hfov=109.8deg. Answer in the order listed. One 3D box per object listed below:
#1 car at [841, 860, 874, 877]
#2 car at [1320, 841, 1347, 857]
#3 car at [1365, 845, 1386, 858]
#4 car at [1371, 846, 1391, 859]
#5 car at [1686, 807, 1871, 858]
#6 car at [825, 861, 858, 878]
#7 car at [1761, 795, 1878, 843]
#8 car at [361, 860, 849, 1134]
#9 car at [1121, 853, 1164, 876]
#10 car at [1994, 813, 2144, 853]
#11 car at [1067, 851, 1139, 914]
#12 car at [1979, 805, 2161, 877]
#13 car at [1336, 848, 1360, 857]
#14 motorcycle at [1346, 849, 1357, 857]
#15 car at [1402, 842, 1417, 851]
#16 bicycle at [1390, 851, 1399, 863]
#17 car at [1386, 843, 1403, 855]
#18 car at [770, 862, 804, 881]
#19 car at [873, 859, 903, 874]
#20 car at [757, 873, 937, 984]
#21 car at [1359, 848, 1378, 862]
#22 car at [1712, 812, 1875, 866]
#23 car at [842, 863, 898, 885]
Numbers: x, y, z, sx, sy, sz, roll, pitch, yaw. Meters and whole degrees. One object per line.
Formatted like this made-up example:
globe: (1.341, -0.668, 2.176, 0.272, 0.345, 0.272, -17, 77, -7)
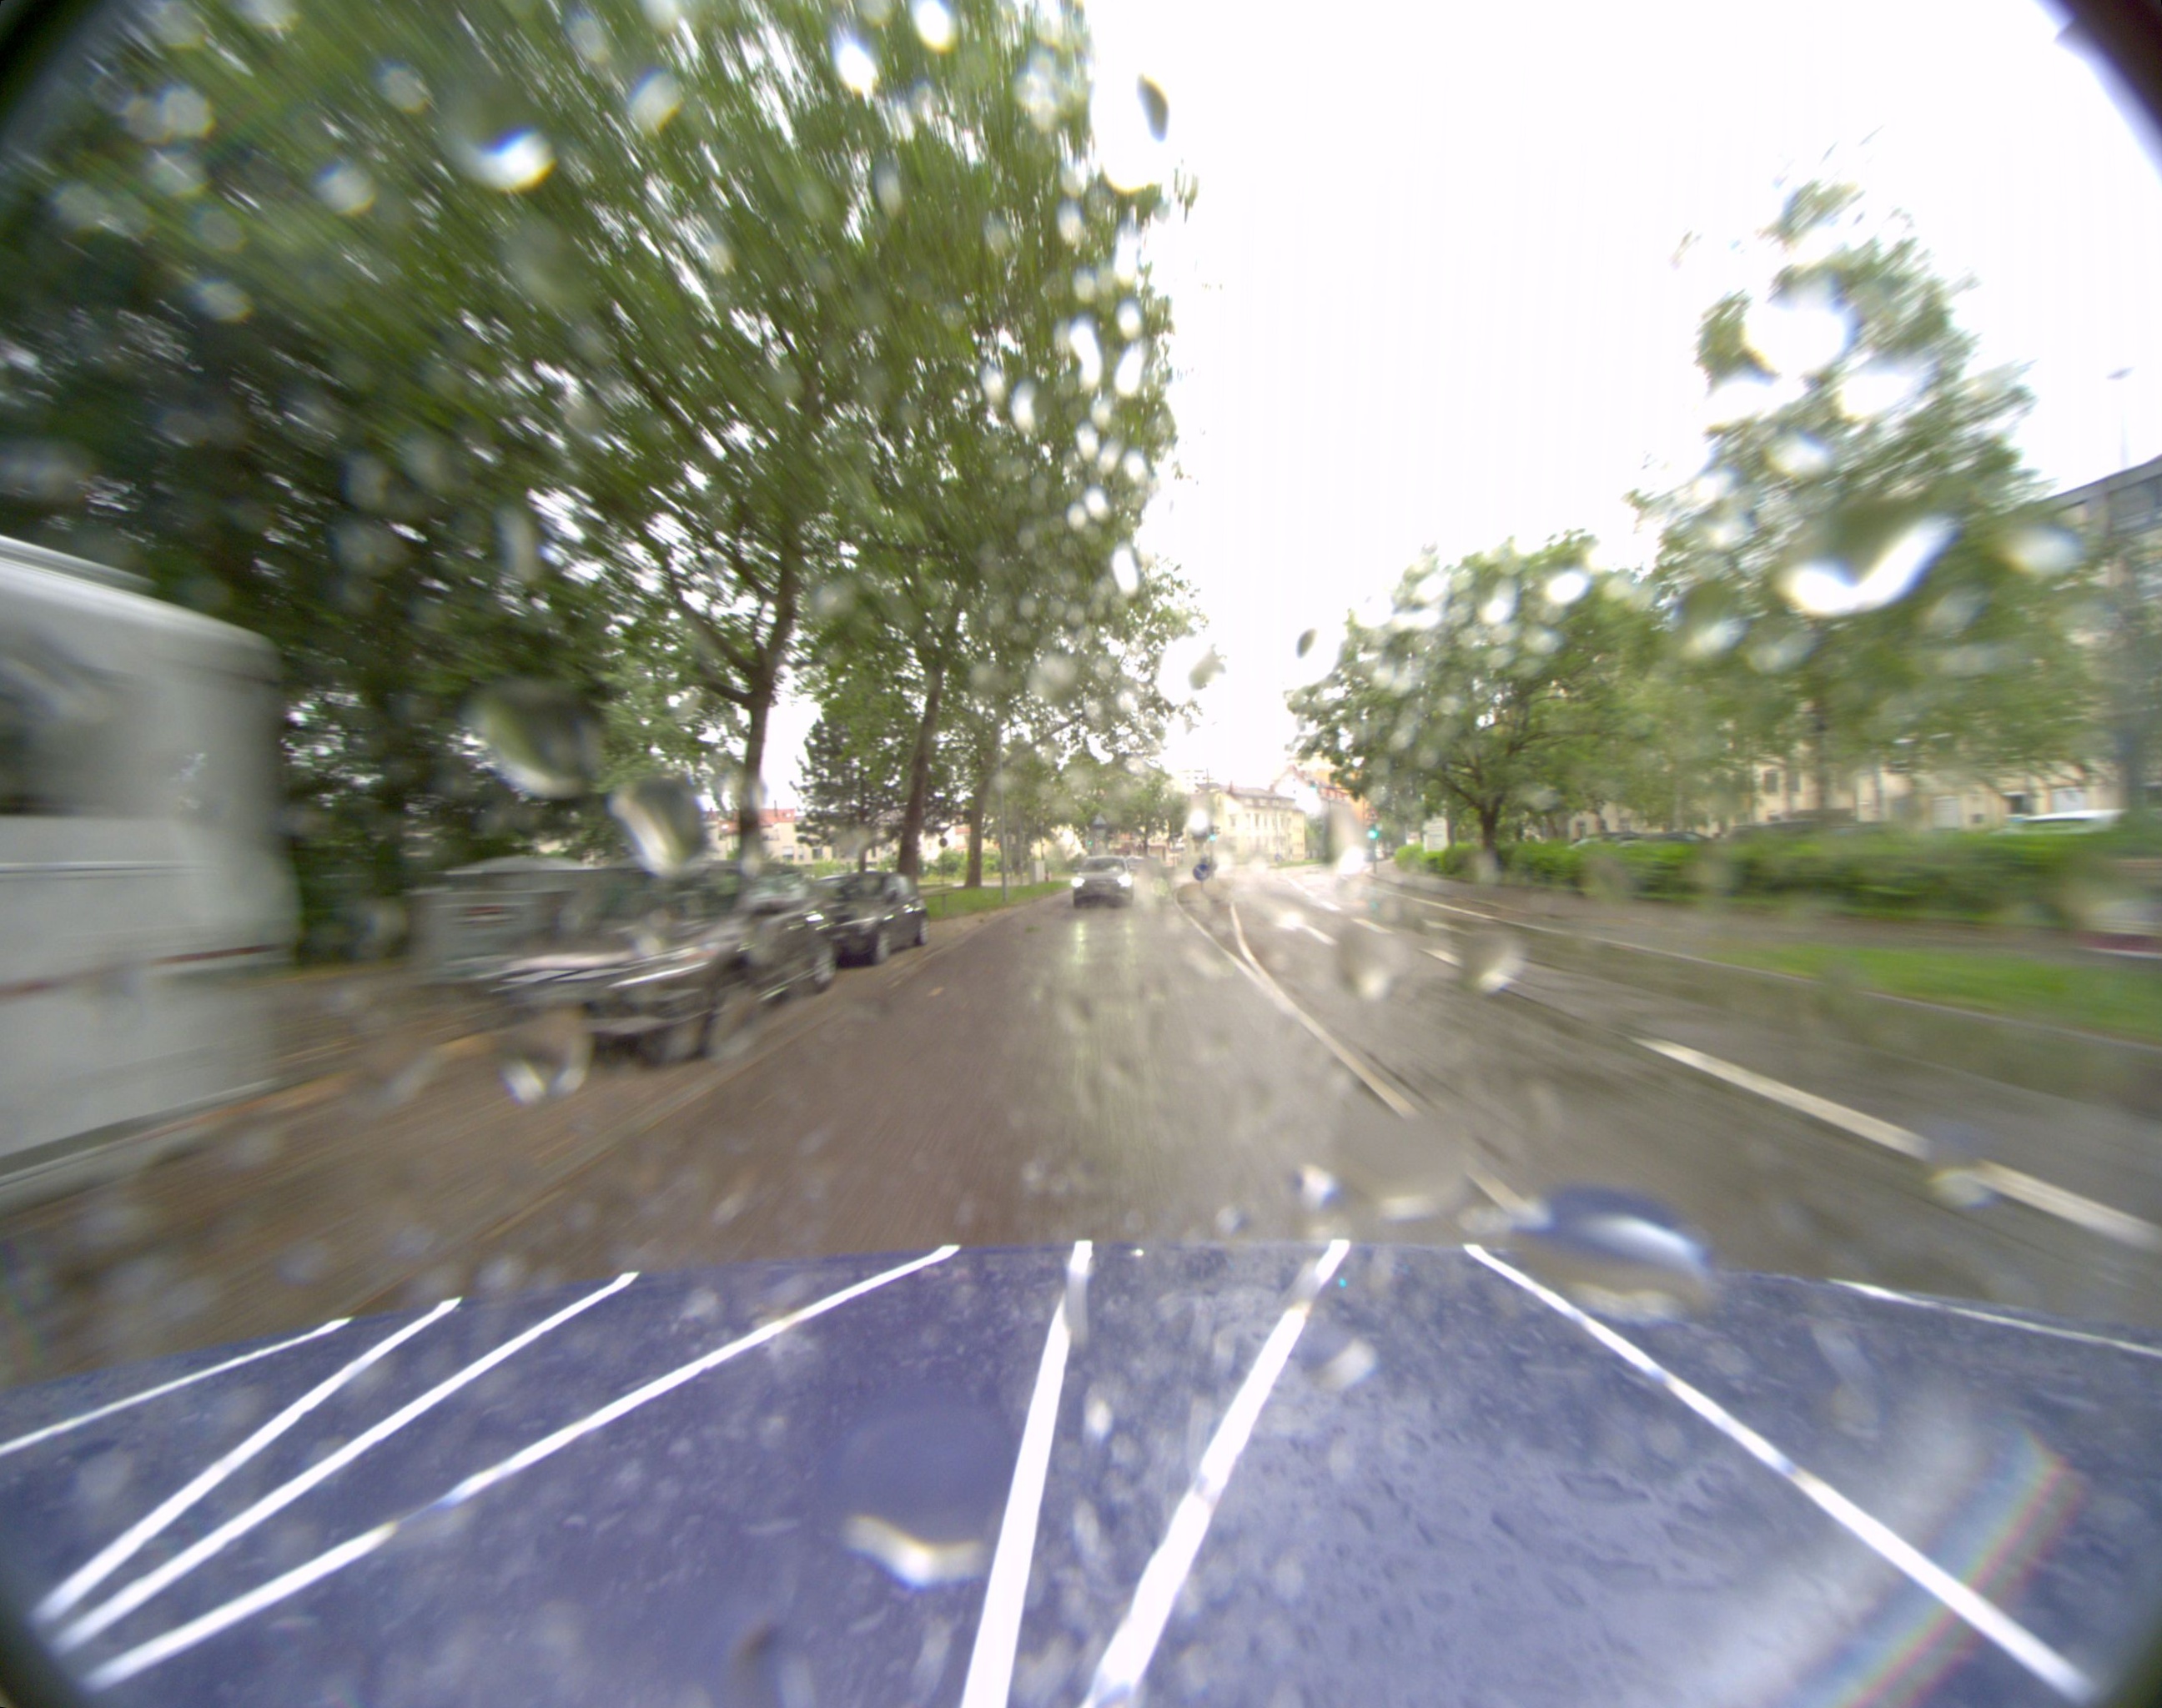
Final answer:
car: (-27.694, 1.776, 94.076, 3.989, 1.849, 2.004, -3, 0, 43)
car: (39.305, -0.732, 118.239, 2.190, 2.242, 4.894, -3, 0, 40)
car: (37.834, -0.311, 97.464, 1.995, 1.558, 4.007, -3, 0, 27)
car: (40.506, -0.220, 102.530, 1.995, 1.558, 4.007, -3, 0, 27)
car: (22.037, -0.641, 24.178, 3.994, 1.331, 1.717, -3, 0, 11)
car: (-29.163, 1.851, 92.575, 3.989, 1.849, 2.004, -3, 0, 43)
car: (56.023, -2.595, 57.749, 6.213, 3.175, 2.838, -3, 0, -3)
car: (-3.844, 0.970, 7.314, 1.921, 1.611, 4.451, -3, 1, -2)
car: (4.907, 0.799, 60.571, 1.829, 1.619, 4.007, -3, 0, 29)
car: (42.224, -0.877, 32.539, 3.998, 1.510, 1.999, -2, 0, -3)
car: (0.685, 0.837, 23.822, 1.961, 1.701, 4.175, -3, 0, 1)
car: (25.974, -0.347, 19.366, 3.998, 1.629, 1.999, -3, 0, -5)
car: (50.808, -0.274, 144.466, 3.917, 1.605, 1.695, -3, 0, 30)
motorcycle: (49.875, -0.144, 139.885, 1.764, 1.365, 0.736, -3, 0, 30)
car: (57.539, -1.281, 133.139, 1.995, 1.412, 4.007, -3, 0, 27)
bicycle: (31.370, 0.297, 76.051, 0.698, 1.179, 1.626, -3, 0, 22)
car: (47.589, -0.755, 115.437, 1.995, 1.558, 4.007, -3, 0, 27)
car: (-34.263, 2.016, 88.516, 3.989, 2.002, 2.004, -3, 0, 43)
car: (-24.879, 1.623, 97.854, 3.989, 1.674, 1.913, -3, 0, 43)
car: (-3.672, 1.098, 12.716, 1.552, 1.382, 4.150, -3, 0, 1)
car: (33.020, 0.118, 87.307, 1.546, 1.389, 4.201, -4, -1, 26)
car: (24.804, -0.506, 26.550, 3.996, 1.602, 1.652, -3, 0, 3)
car: (-18.646, 1.735, 67.251, 1.855, 1.645, 4.313, -3, 0, 44)
